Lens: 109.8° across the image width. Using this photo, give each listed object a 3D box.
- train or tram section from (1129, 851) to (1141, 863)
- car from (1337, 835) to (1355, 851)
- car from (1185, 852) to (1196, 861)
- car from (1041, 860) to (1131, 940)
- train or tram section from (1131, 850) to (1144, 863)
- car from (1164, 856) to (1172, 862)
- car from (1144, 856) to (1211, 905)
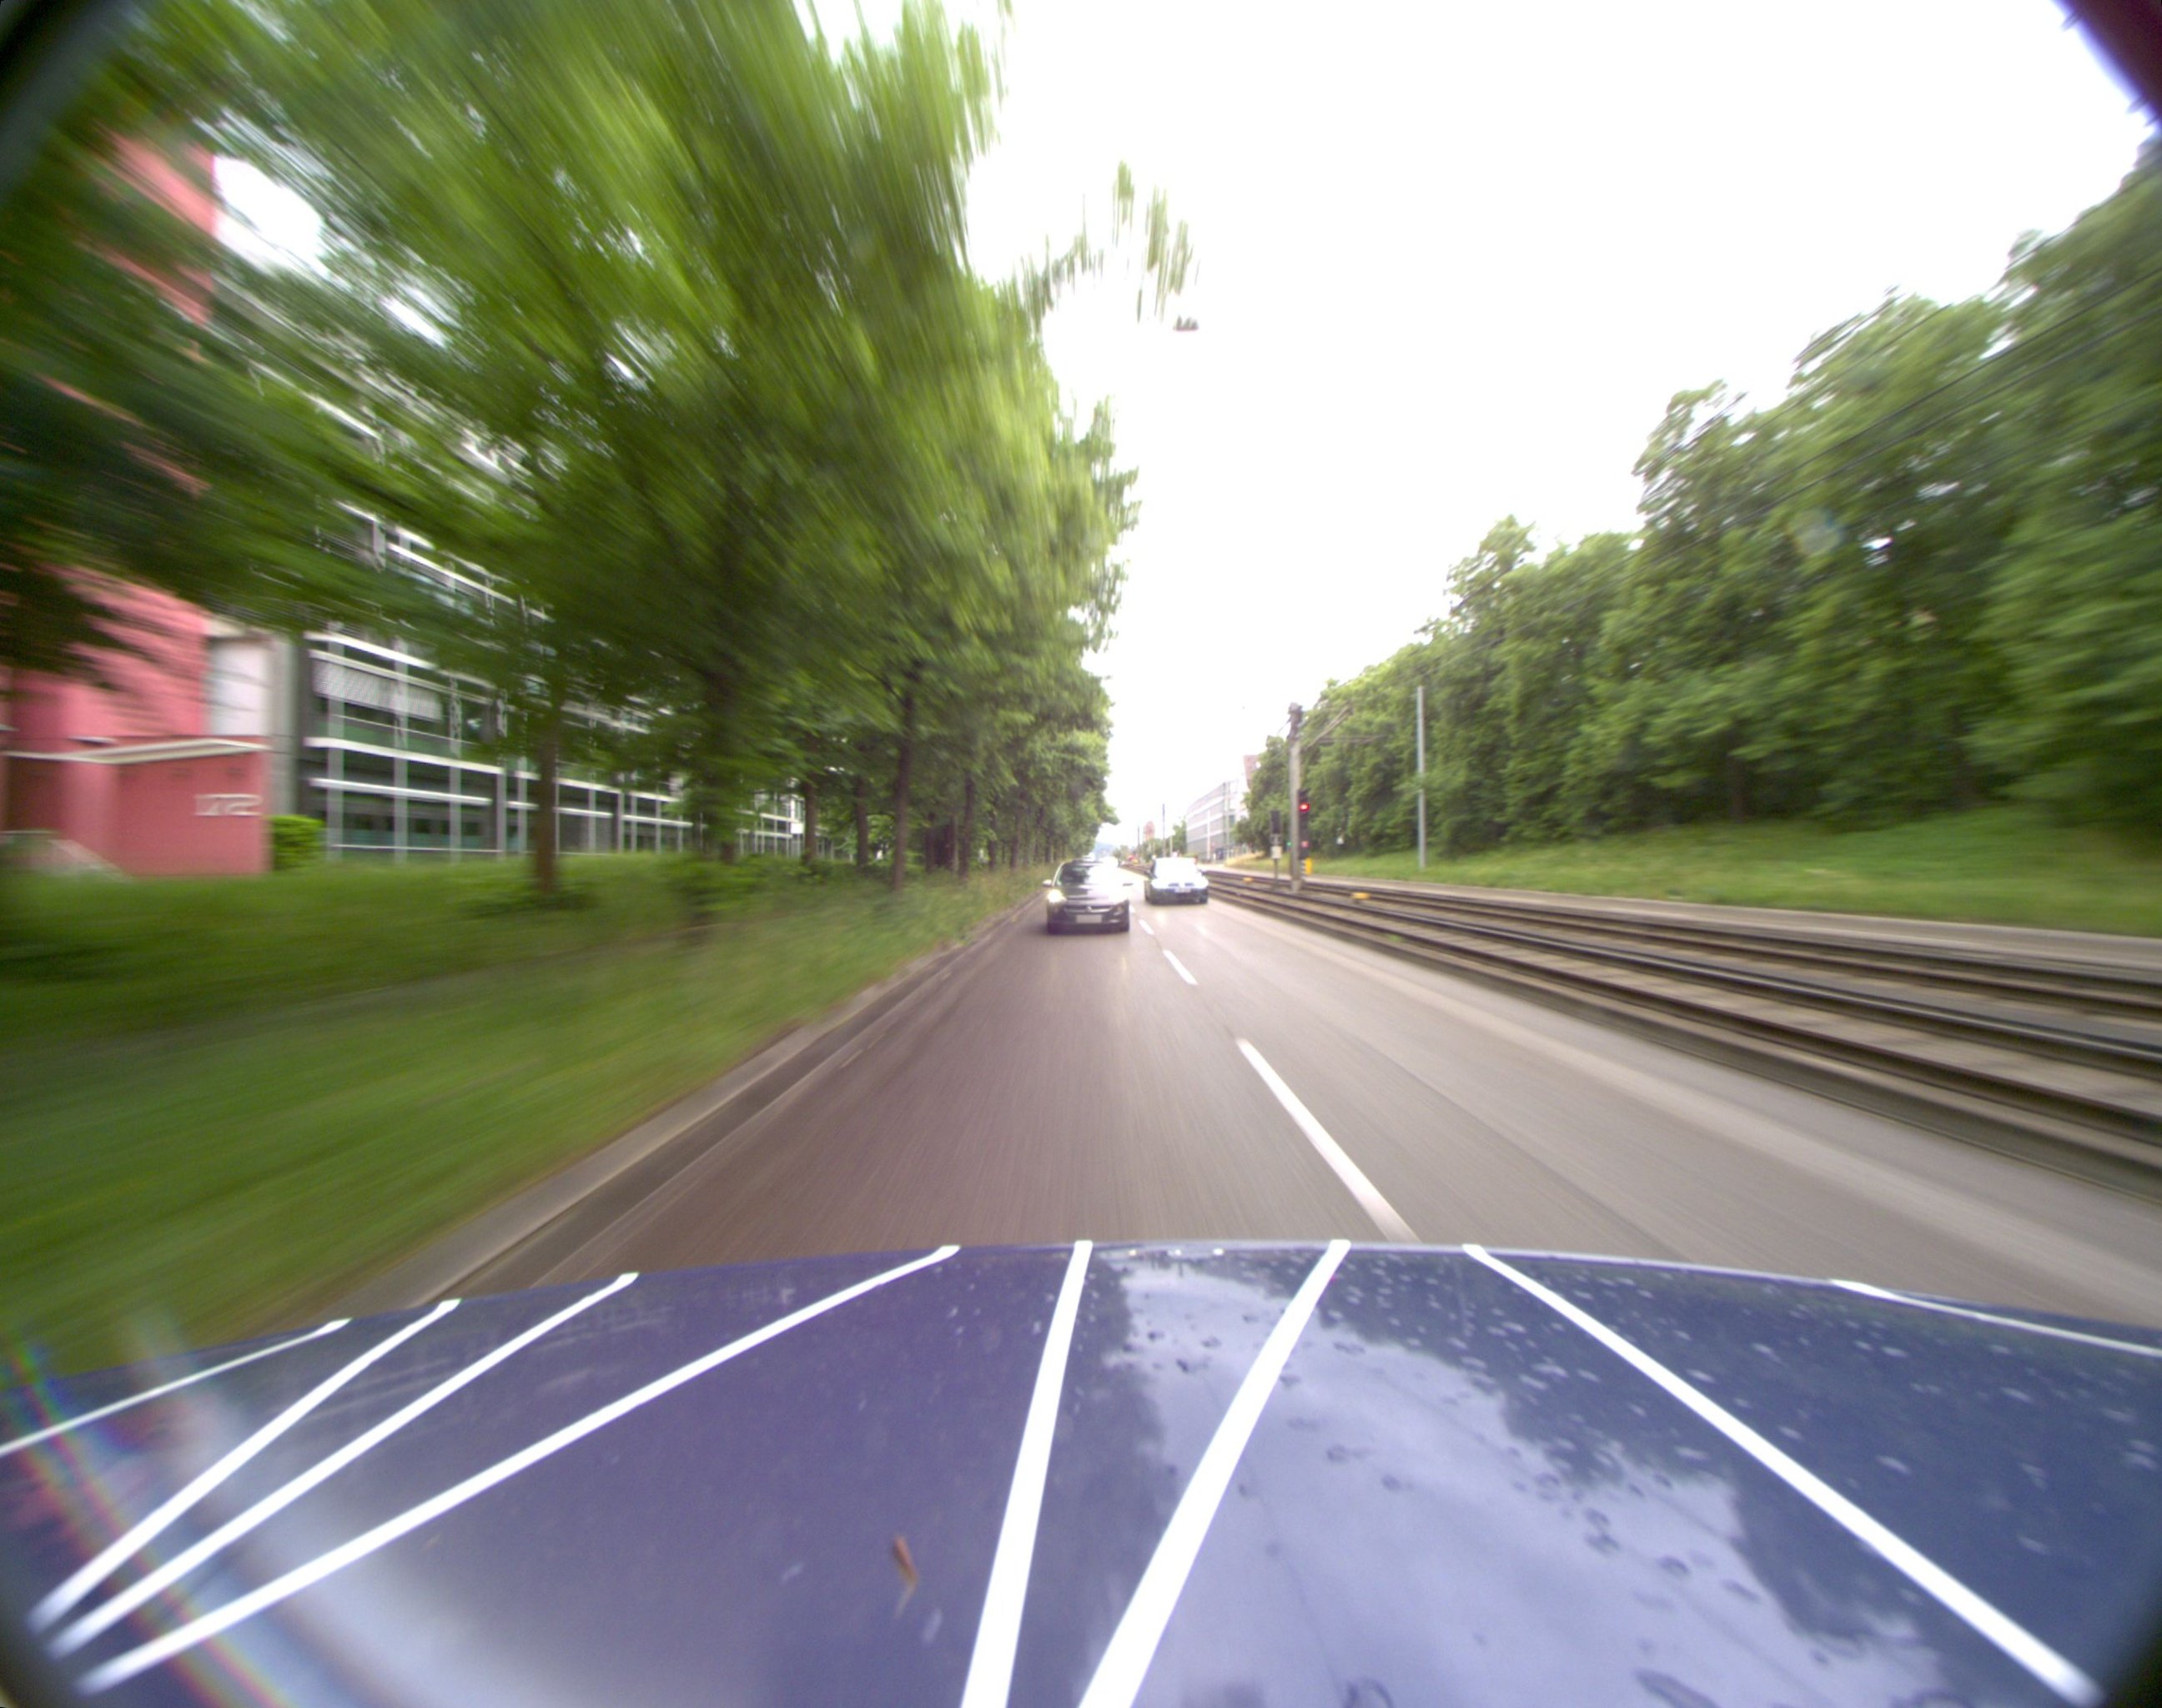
[{"bbox_3d":[17.837,1.095,253.468,2.975,3.788,19.101,-1,0,1],"label":"train or tram section"},{"bbox_3d":[33.934,-1.410,97.235,1.963,2.002,4.222,-1,0,17],"label":"car"},{"bbox_3d":[19.150,0.445,132.746,1.480,1.427,3.909,1,0,1],"label":"car"},{"bbox_3d":[0.173,0.923,17.111,1.698,1.439,4.421,-3,0,2],"label":"car"},{"bbox_3d":[17.307,0.936,234.184,2.975,3.788,19.522,-1,0,1],"label":"train or tram section"},{"bbox_3d":[22.824,1.215,199.010,1.657,1.520,4.381,-1,0,2],"label":"car"},{"bbox_3d":[3.092,0.821,24.991,1.770,1.439,3.833,-1,0,1],"label":"car"}]
